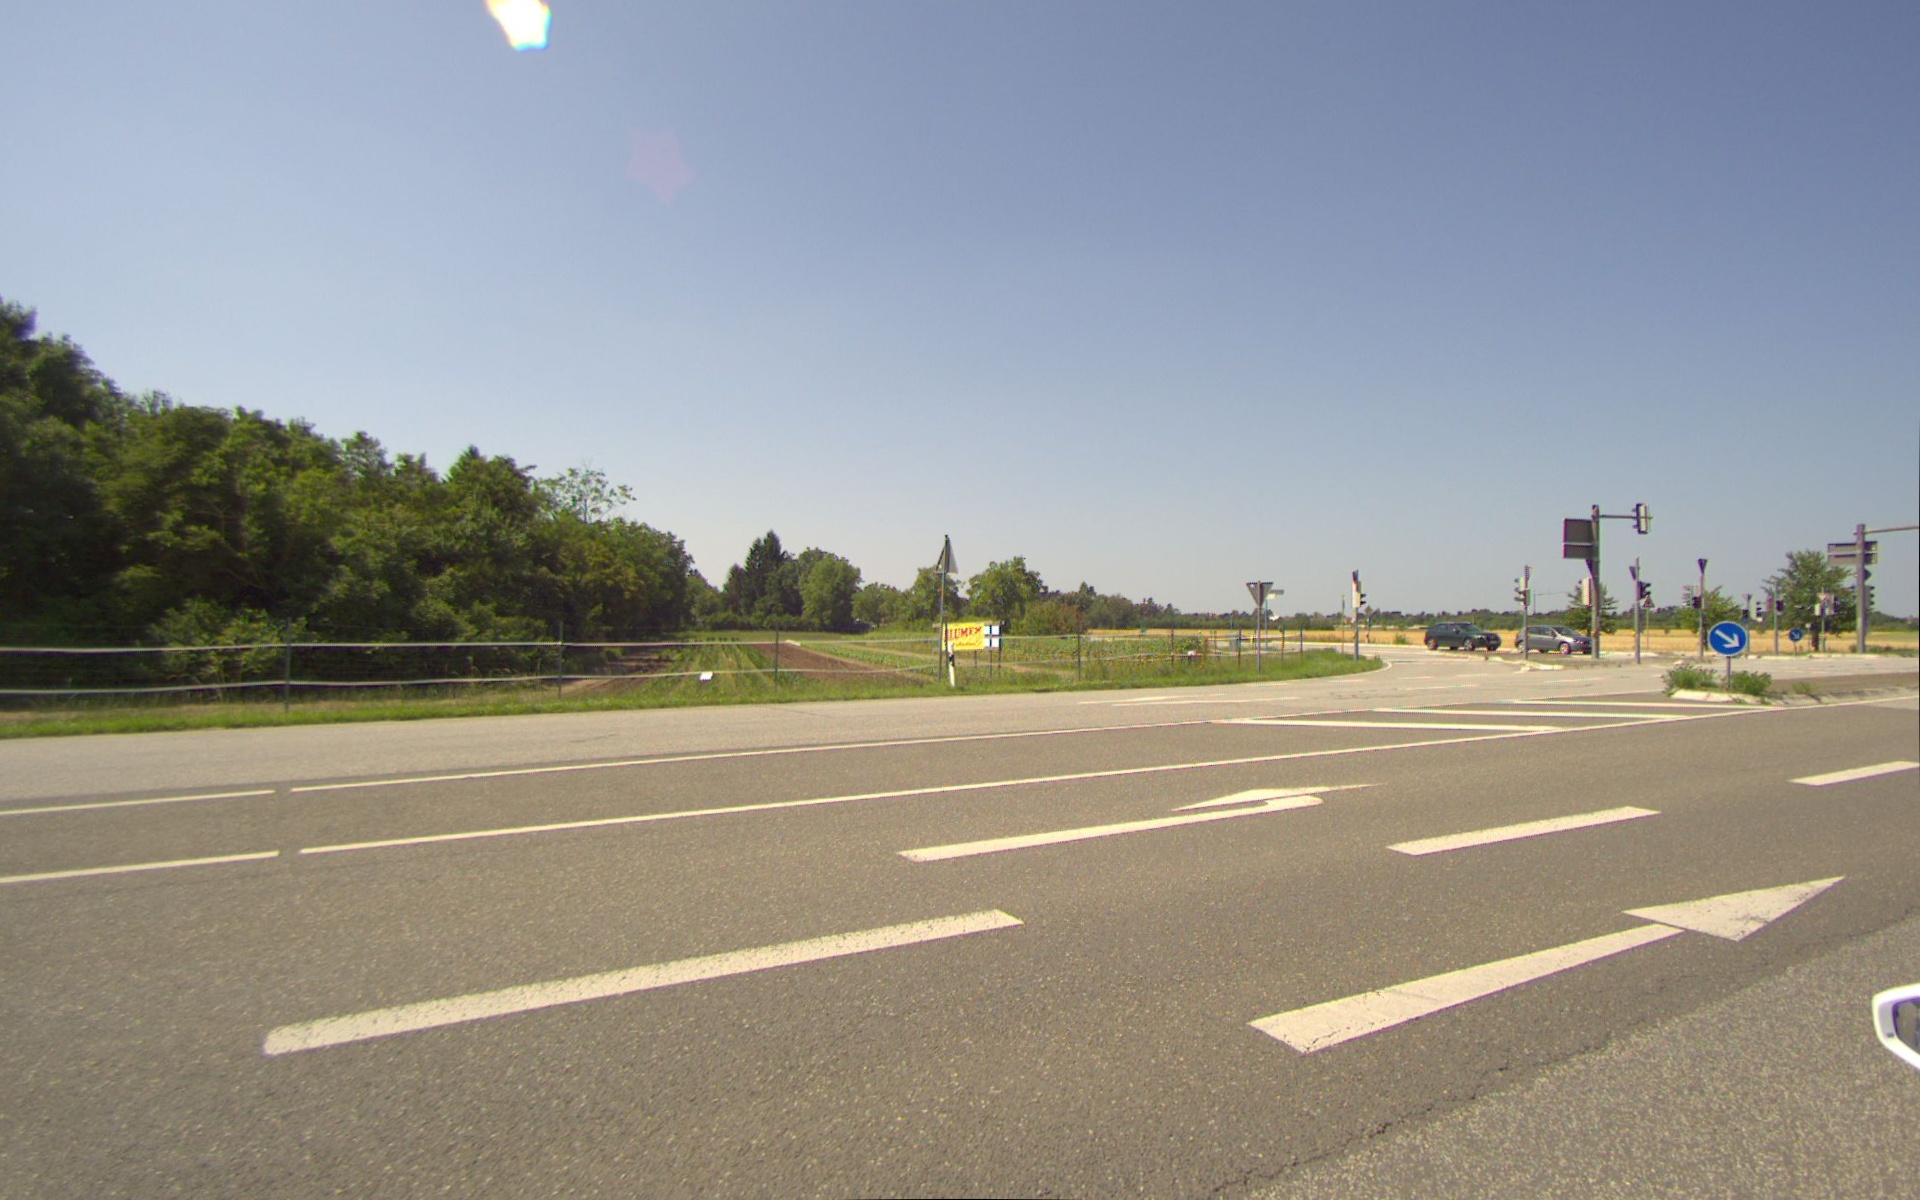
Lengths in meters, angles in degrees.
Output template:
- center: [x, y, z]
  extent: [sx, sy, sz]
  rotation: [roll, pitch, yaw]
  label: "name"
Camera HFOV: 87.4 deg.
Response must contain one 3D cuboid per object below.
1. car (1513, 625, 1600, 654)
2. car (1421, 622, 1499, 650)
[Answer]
- center: [31.090, 2.036, 52.473]
  extent: [1.609, 1.405, 3.866]
  rotation: [0, -1, -17]
  label: "car"
- center: [29.045, 2.092, 58.492]
  extent: [1.607, 1.615, 4.357]
  rotation: [1, -2, -15]
  label: "car"
